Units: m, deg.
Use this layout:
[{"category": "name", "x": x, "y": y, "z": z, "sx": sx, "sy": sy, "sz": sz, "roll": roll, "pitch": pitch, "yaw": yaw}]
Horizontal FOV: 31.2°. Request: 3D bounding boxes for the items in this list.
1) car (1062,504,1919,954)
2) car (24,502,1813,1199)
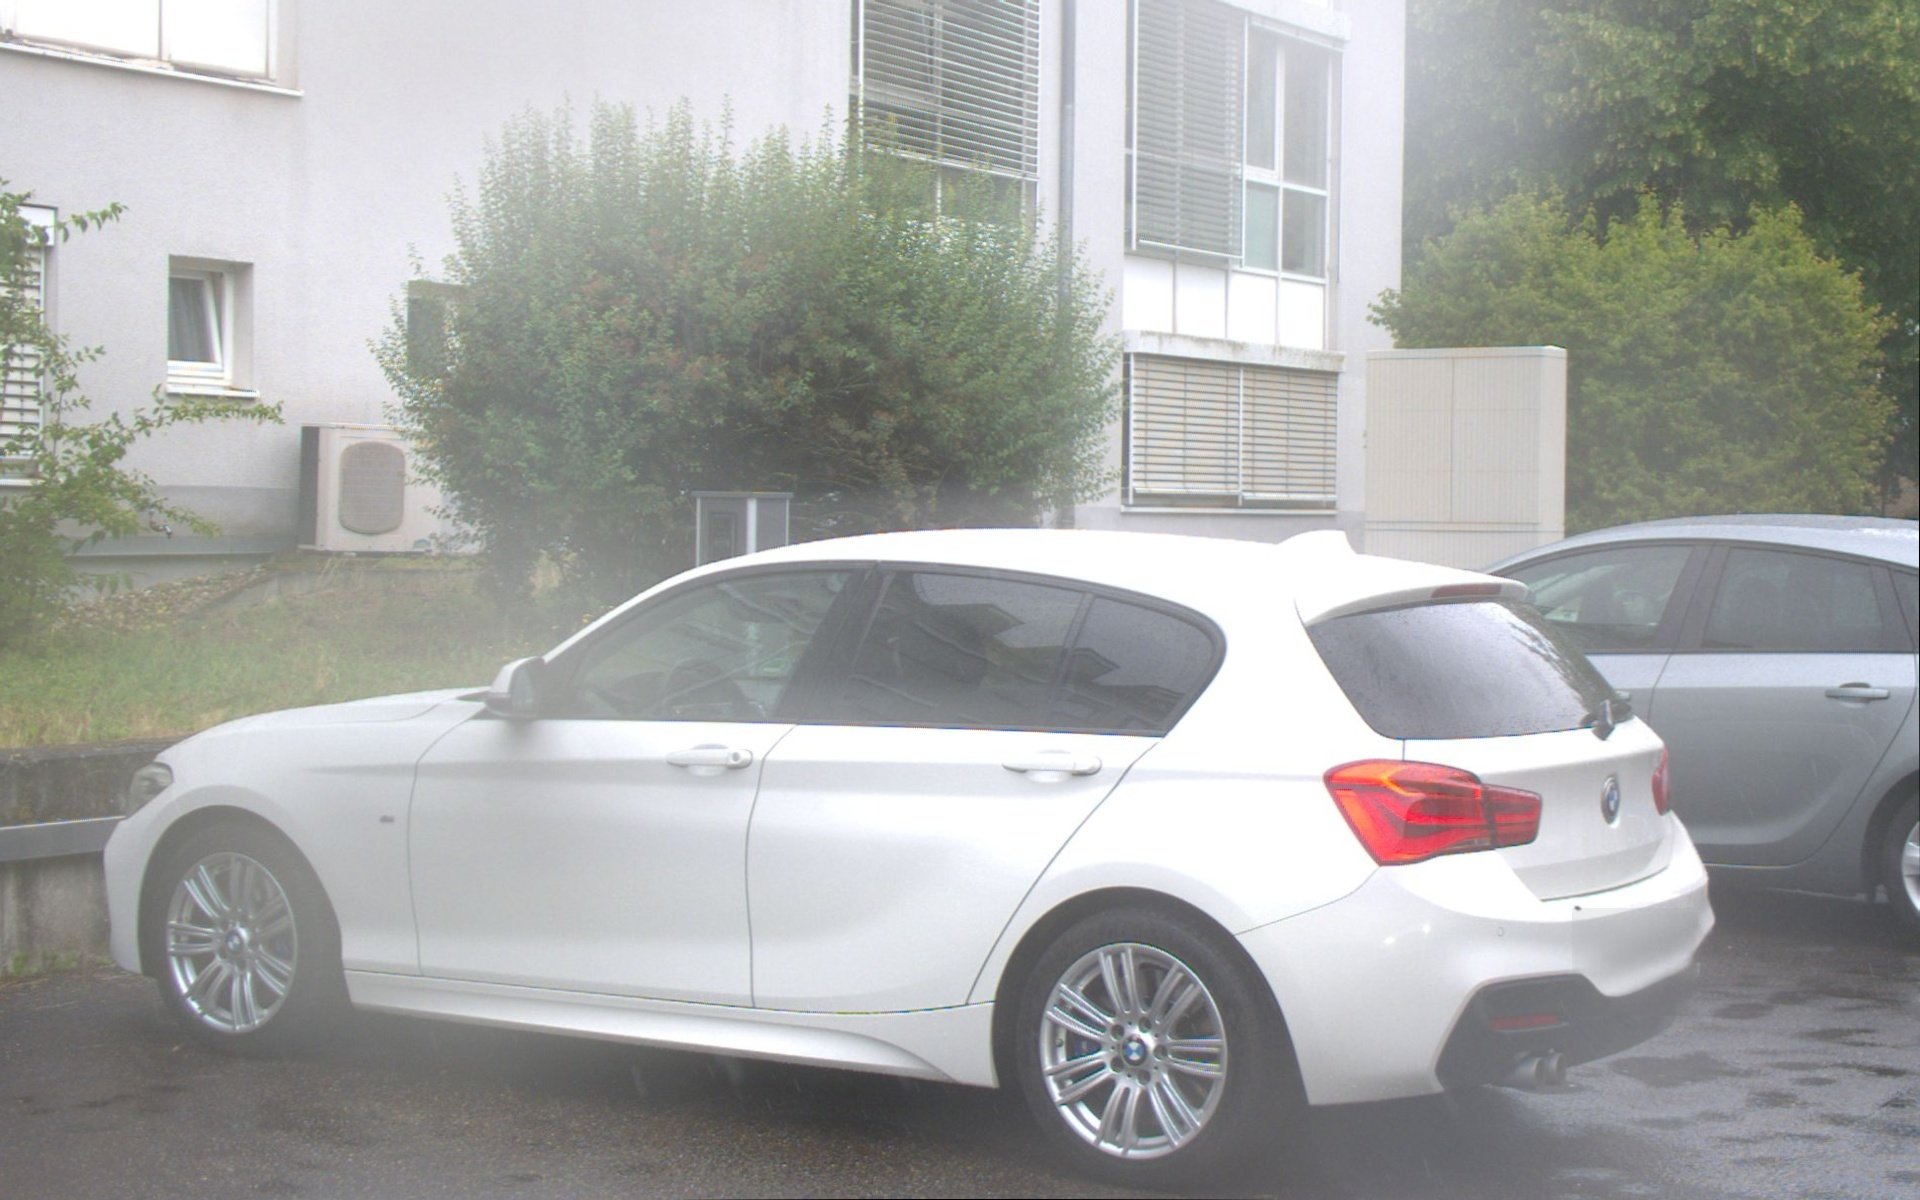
[{"category": "car", "x": 2.725, "y": 0.418, "z": 13.097, "sx": 4.215, "sy": 1.484, "sz": 1.996, "roll": 2, "pitch": 1, "yaw": 32}, {"category": "car", "x": -0.178, "y": 0.528, "z": 8.928, "sx": 4.215, "sy": 1.484, "sz": 1.996, "roll": 2, "pitch": 1, "yaw": 32}]
